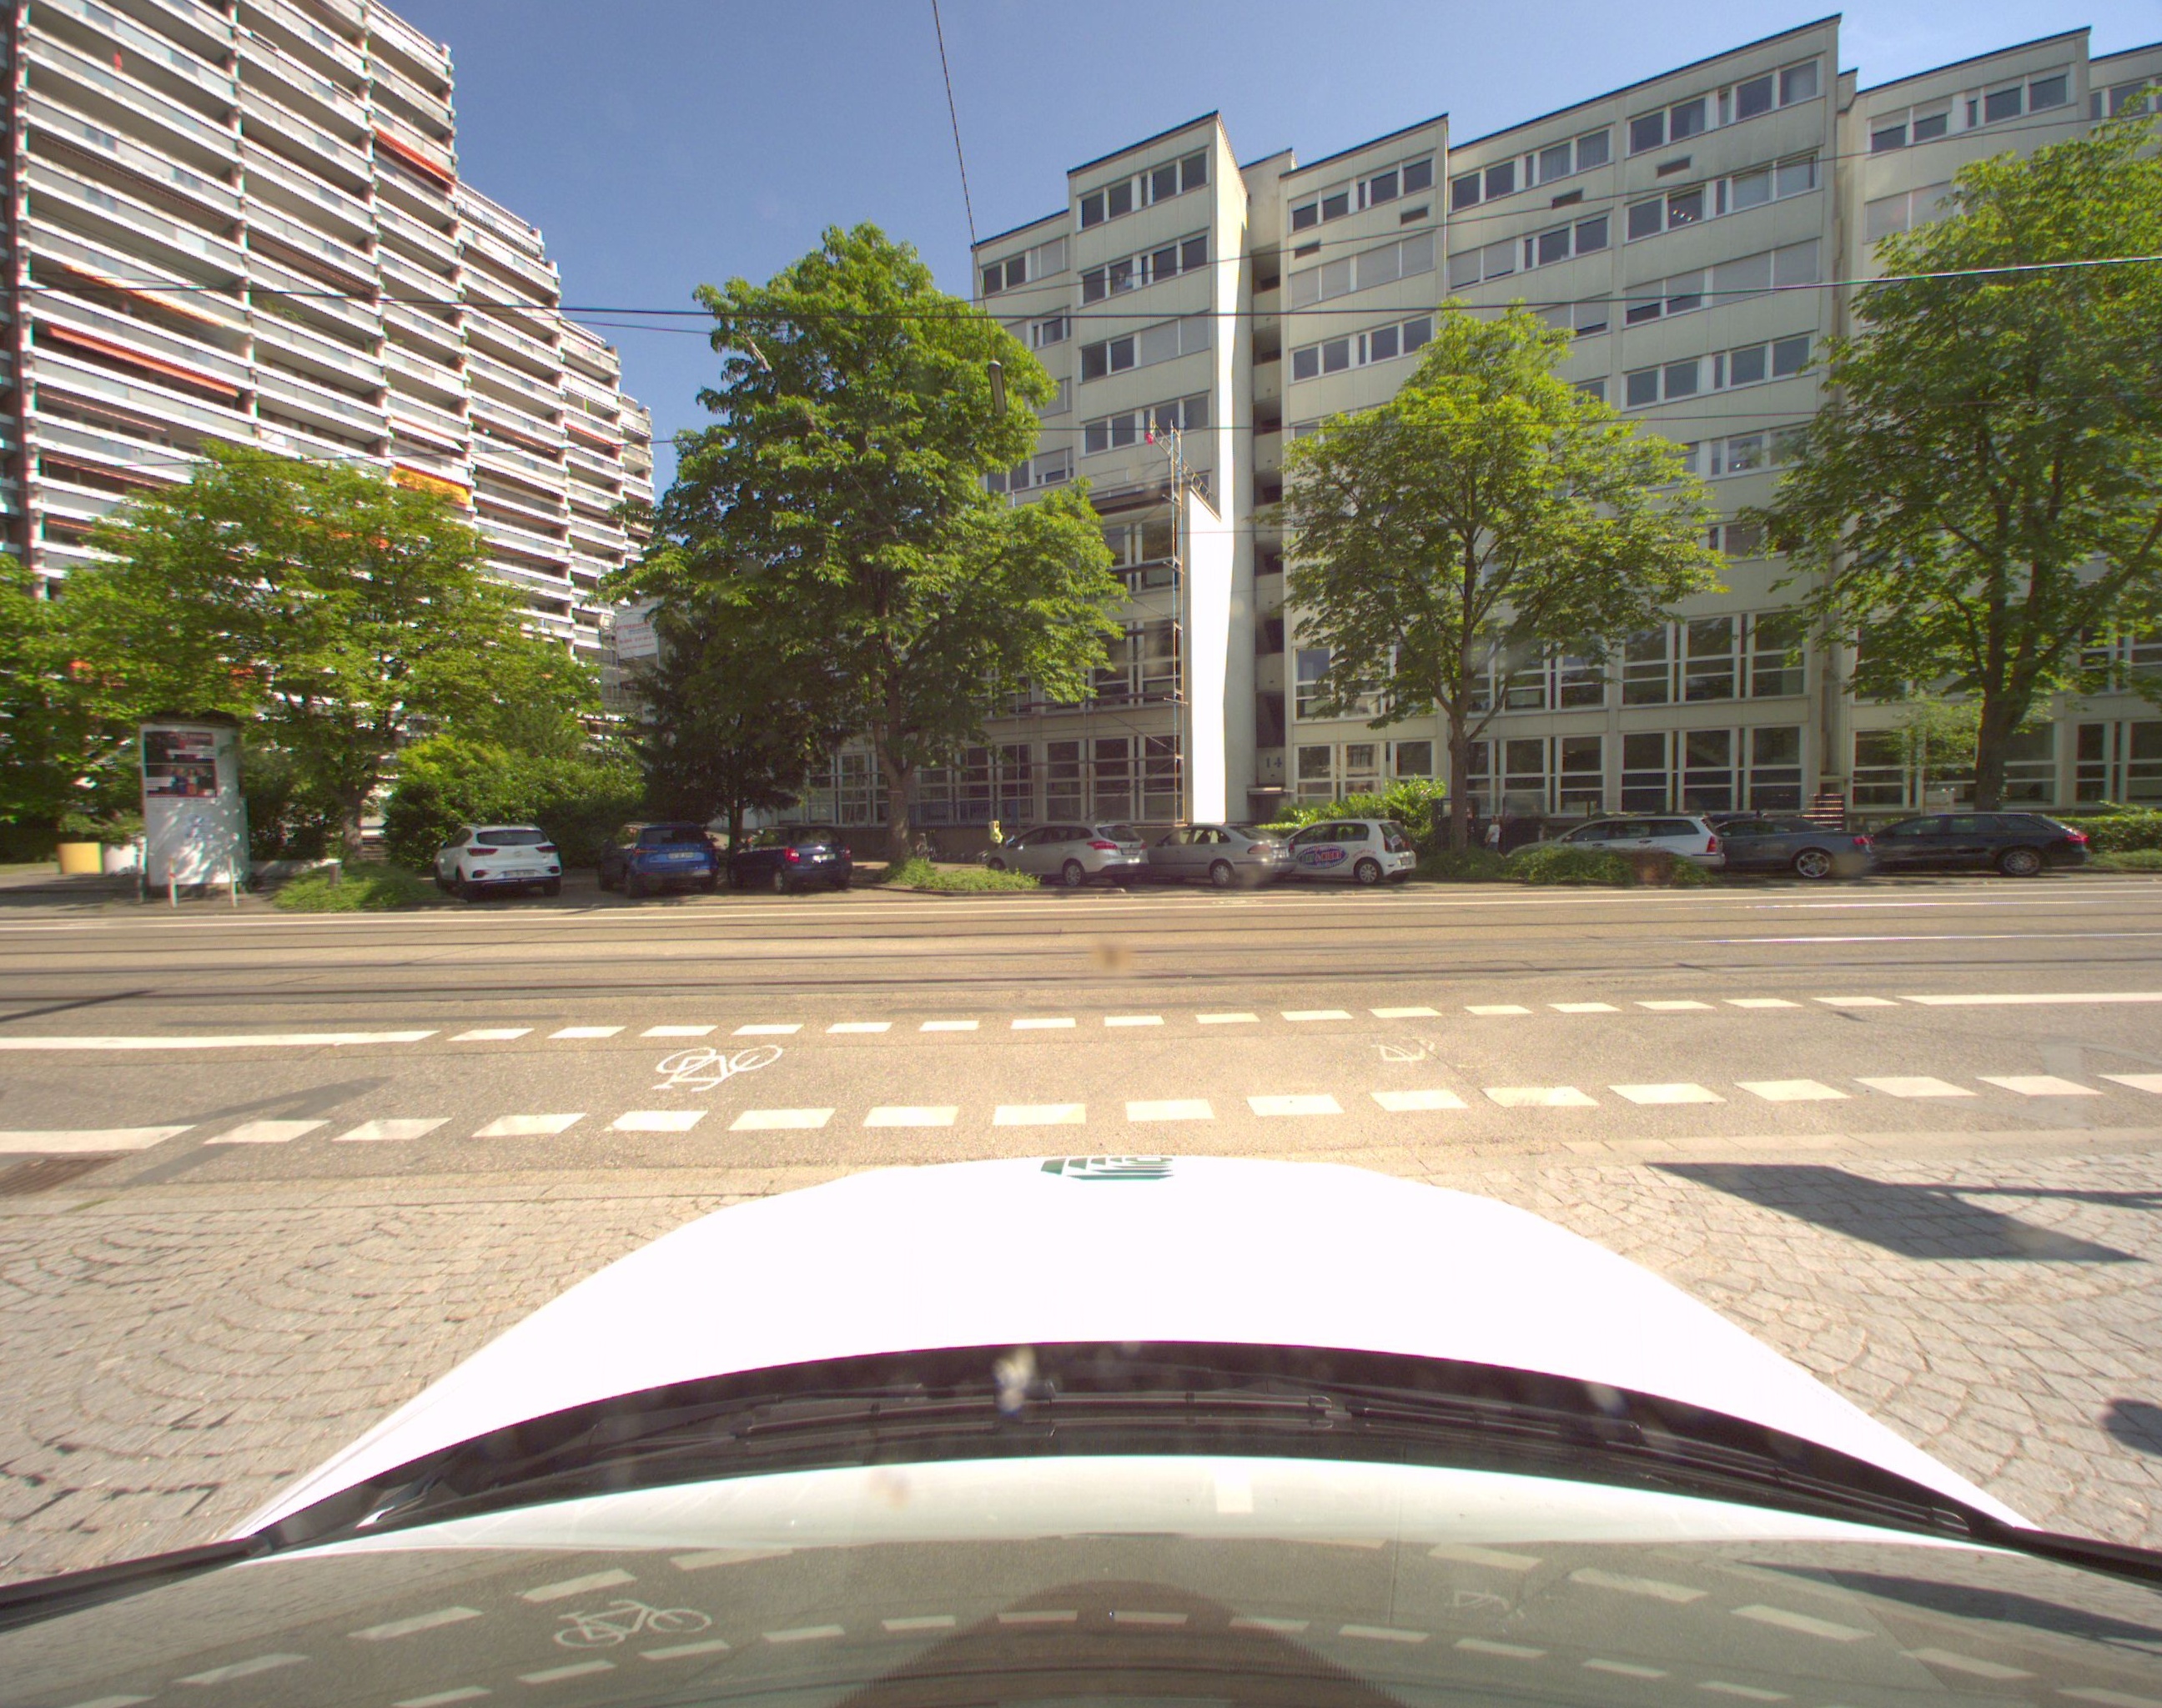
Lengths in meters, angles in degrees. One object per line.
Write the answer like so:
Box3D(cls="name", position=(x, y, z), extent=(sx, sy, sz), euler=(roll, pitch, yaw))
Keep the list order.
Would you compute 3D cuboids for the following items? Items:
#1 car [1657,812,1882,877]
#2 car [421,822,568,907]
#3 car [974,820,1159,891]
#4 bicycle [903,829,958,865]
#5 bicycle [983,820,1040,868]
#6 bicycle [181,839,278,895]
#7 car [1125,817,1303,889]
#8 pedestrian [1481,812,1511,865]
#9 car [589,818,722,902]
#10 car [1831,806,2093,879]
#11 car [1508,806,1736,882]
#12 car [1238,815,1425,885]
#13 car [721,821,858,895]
Box3D(cls="car", position=(15.910, -0.249, 18.961), extent=(3.896, 1.357, 1.568), euler=(1, 3, 44))
Box3D(cls="car", position=(-13.246, 0.154, 18.314), extent=(3.895, 1.605, 1.831), euler=(1, 5, 43))
Box3D(cls="car", position=(-0.440, -0.033, 19.246), extent=(4.381, 1.485, 1.795), euler=(1, 3, 44))
Box3D(cls="bicycle", position=(-4.887, -0.243, 26.611), extent=(0.735, 1.085, 2.214), euler=(0, 2, 18))
Box3D(cls="bicycle", position=(-2.172, -0.341, 25.713), extent=(0.655, 1.453, 2.104), euler=(0, 2, 31))
Box3D(cls="bicycle", position=(-20.739, 0.299, 19.867), extent=(1.613, 1.308, 0.546), euler=(-1, 2, -6))
Box3D(cls="car", position=(2.999, -0.075, 18.929), extent=(1.622, 1.485, 3.897), euler=(-3, 3, -43))
Box3D(cls="pedestrian", position=(11.613, -0.432, 22.799), extent=(0.618, 1.460, 0.424), euler=(-1, 2, -3))
Box3D(cls="car", position=(-9.801, 0.031, 18.620), extent=(1.790, 1.622, 3.899), euler=(-4, 5, -41))
Box3D(cls="car", position=(19.632, -0.301, 18.412), extent=(3.896, 1.485, 1.568), euler=(1, 3, 44))
Box3D(cls="car", position=(12.617, -0.263, 19.180), extent=(4.289, 1.604, 1.568), euler=(1, 2, 42))
Box3D(cls="car", position=(5.817, -0.109, 19.194), extent=(1.622, 1.486, 3.896), euler=(-3, 2, -44))
Box3D(cls="car", position=(-6.733, 0.033, 18.664), extent=(3.415, 1.530, 1.586), euler=(1, 3, 44))
